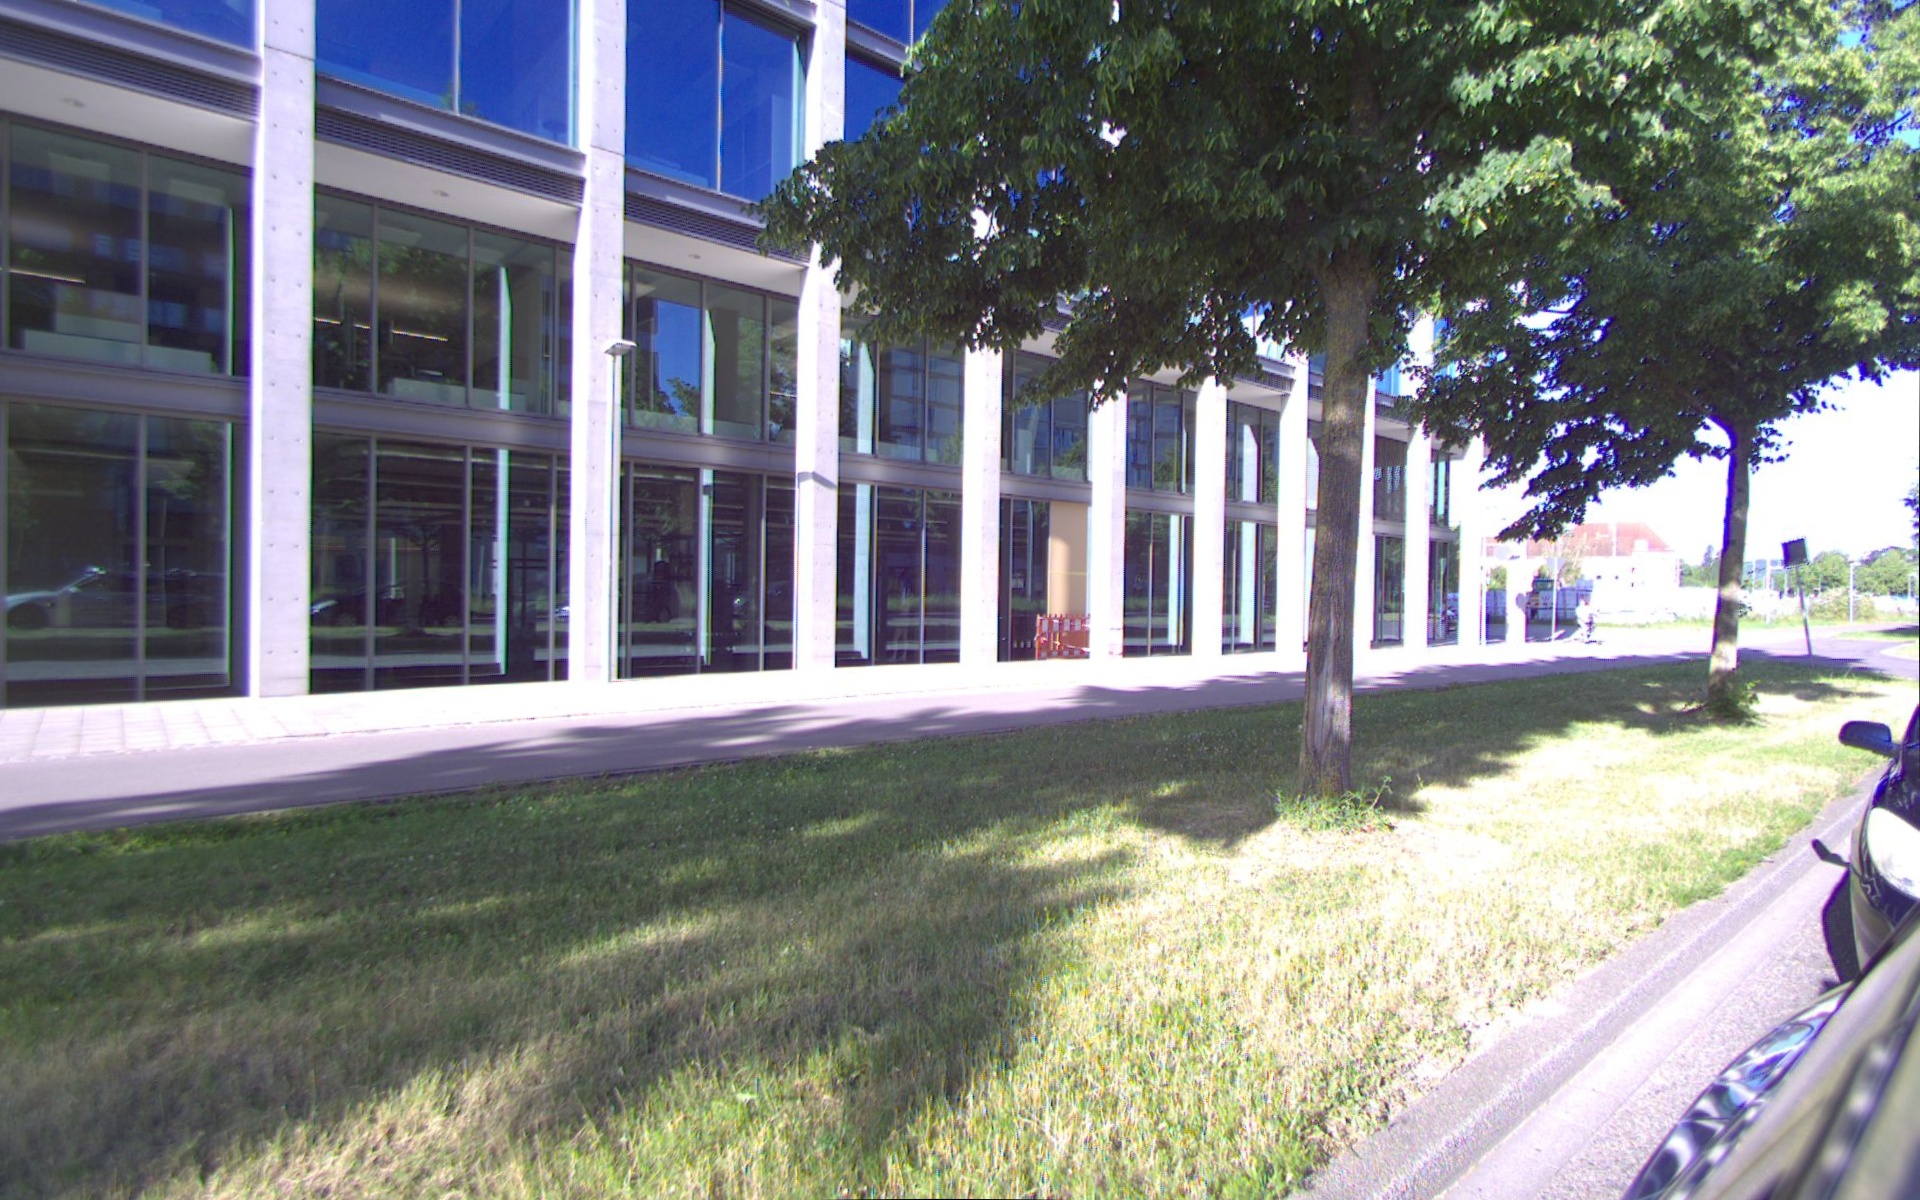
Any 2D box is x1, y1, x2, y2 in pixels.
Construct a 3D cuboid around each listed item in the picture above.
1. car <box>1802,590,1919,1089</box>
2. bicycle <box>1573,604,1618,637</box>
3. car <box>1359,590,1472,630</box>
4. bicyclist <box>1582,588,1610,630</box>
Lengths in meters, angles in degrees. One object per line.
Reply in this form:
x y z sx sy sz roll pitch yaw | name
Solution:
4.973 0.730 4.000 4.403 1.500 1.845 0 1 -41 | car
24.659 0.784 39.294 0.581 1.170 1.925 3 2 5 | bicycle
19.510 0.390 43.492 1.963 1.598 3.997 0 1 -38 | car
24.675 0.345 39.279 0.581 1.558 0.699 2 1 5 | bicyclist
